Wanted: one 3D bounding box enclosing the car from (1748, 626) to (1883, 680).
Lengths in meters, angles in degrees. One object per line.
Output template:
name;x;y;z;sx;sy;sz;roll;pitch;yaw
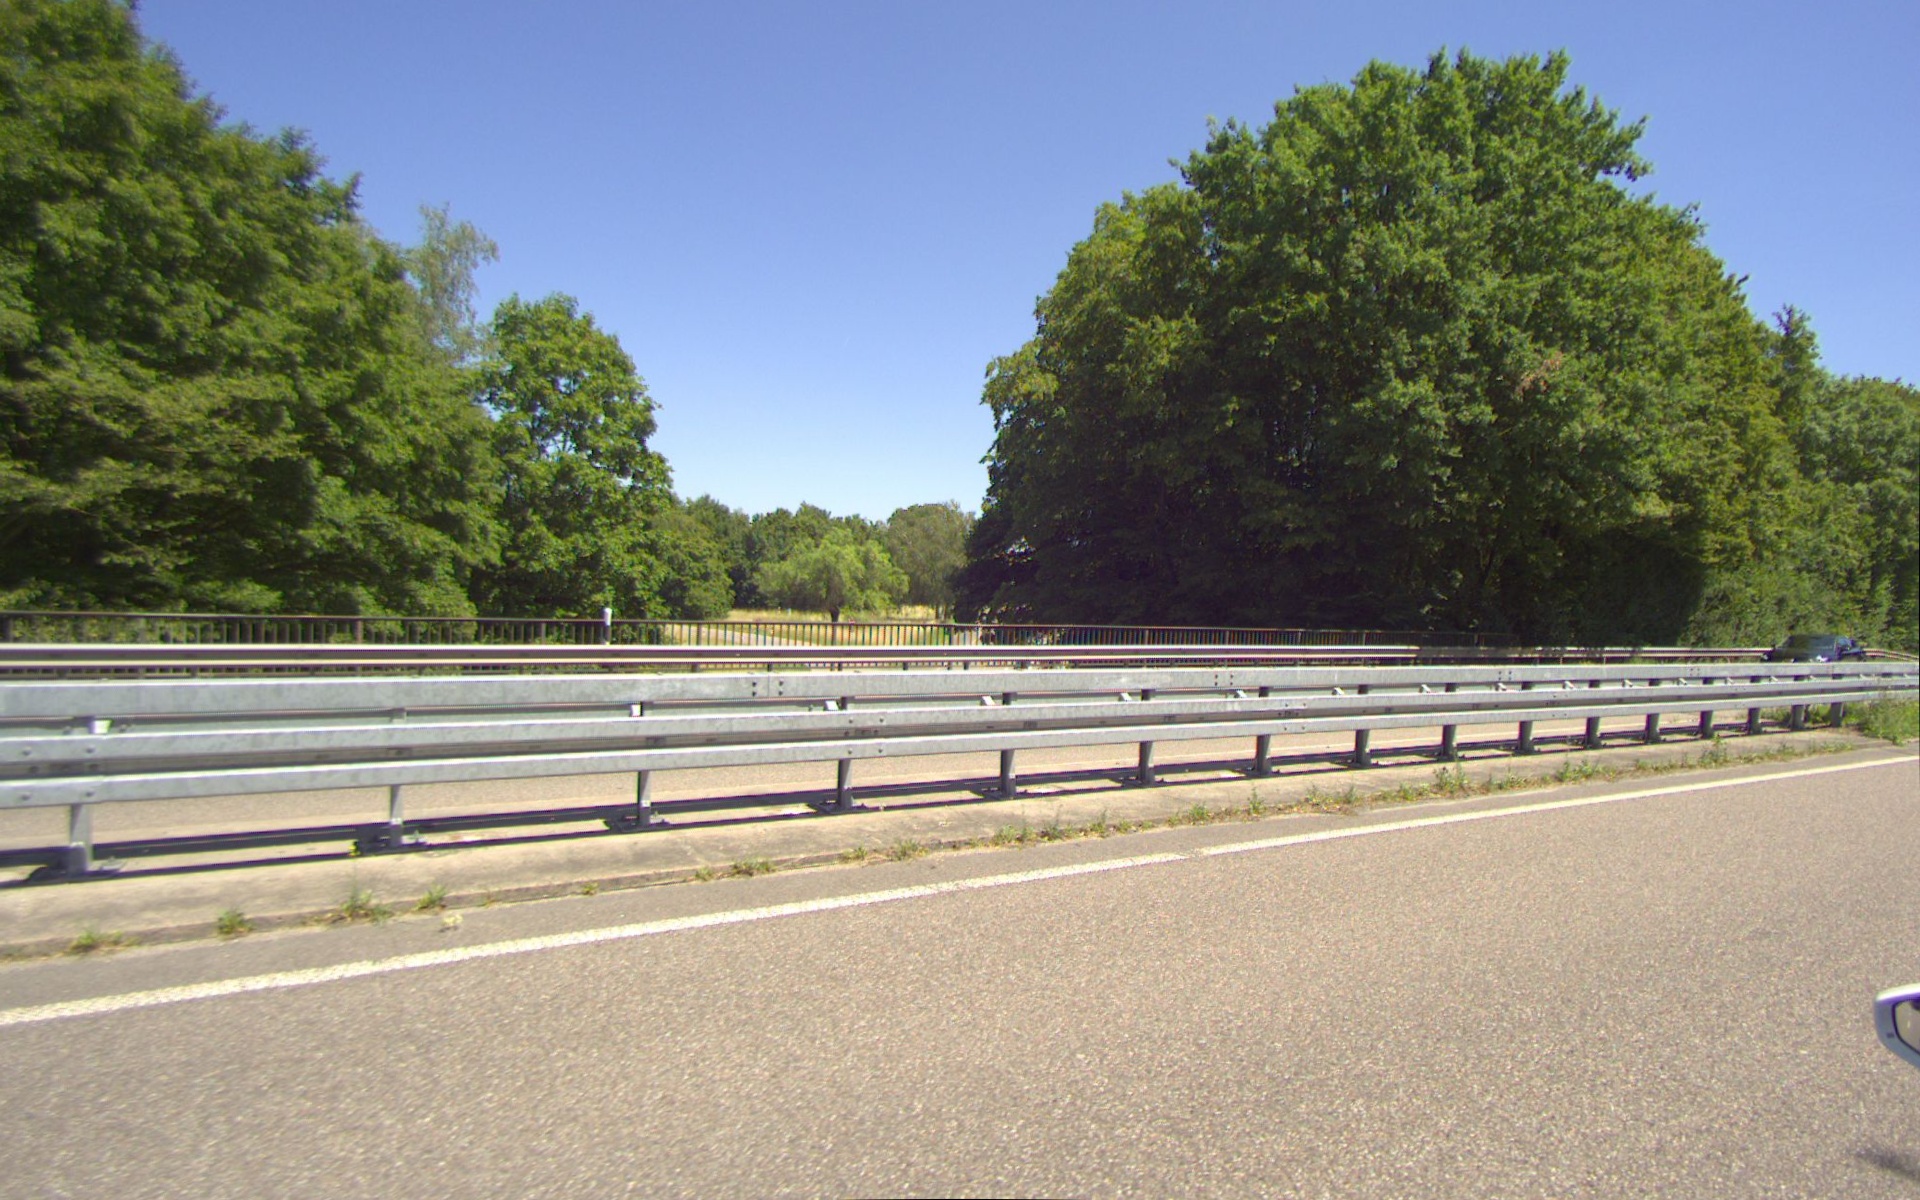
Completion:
car;26.811;1.631;31.437;4.628;1.549;1.748;2;-1;-30
